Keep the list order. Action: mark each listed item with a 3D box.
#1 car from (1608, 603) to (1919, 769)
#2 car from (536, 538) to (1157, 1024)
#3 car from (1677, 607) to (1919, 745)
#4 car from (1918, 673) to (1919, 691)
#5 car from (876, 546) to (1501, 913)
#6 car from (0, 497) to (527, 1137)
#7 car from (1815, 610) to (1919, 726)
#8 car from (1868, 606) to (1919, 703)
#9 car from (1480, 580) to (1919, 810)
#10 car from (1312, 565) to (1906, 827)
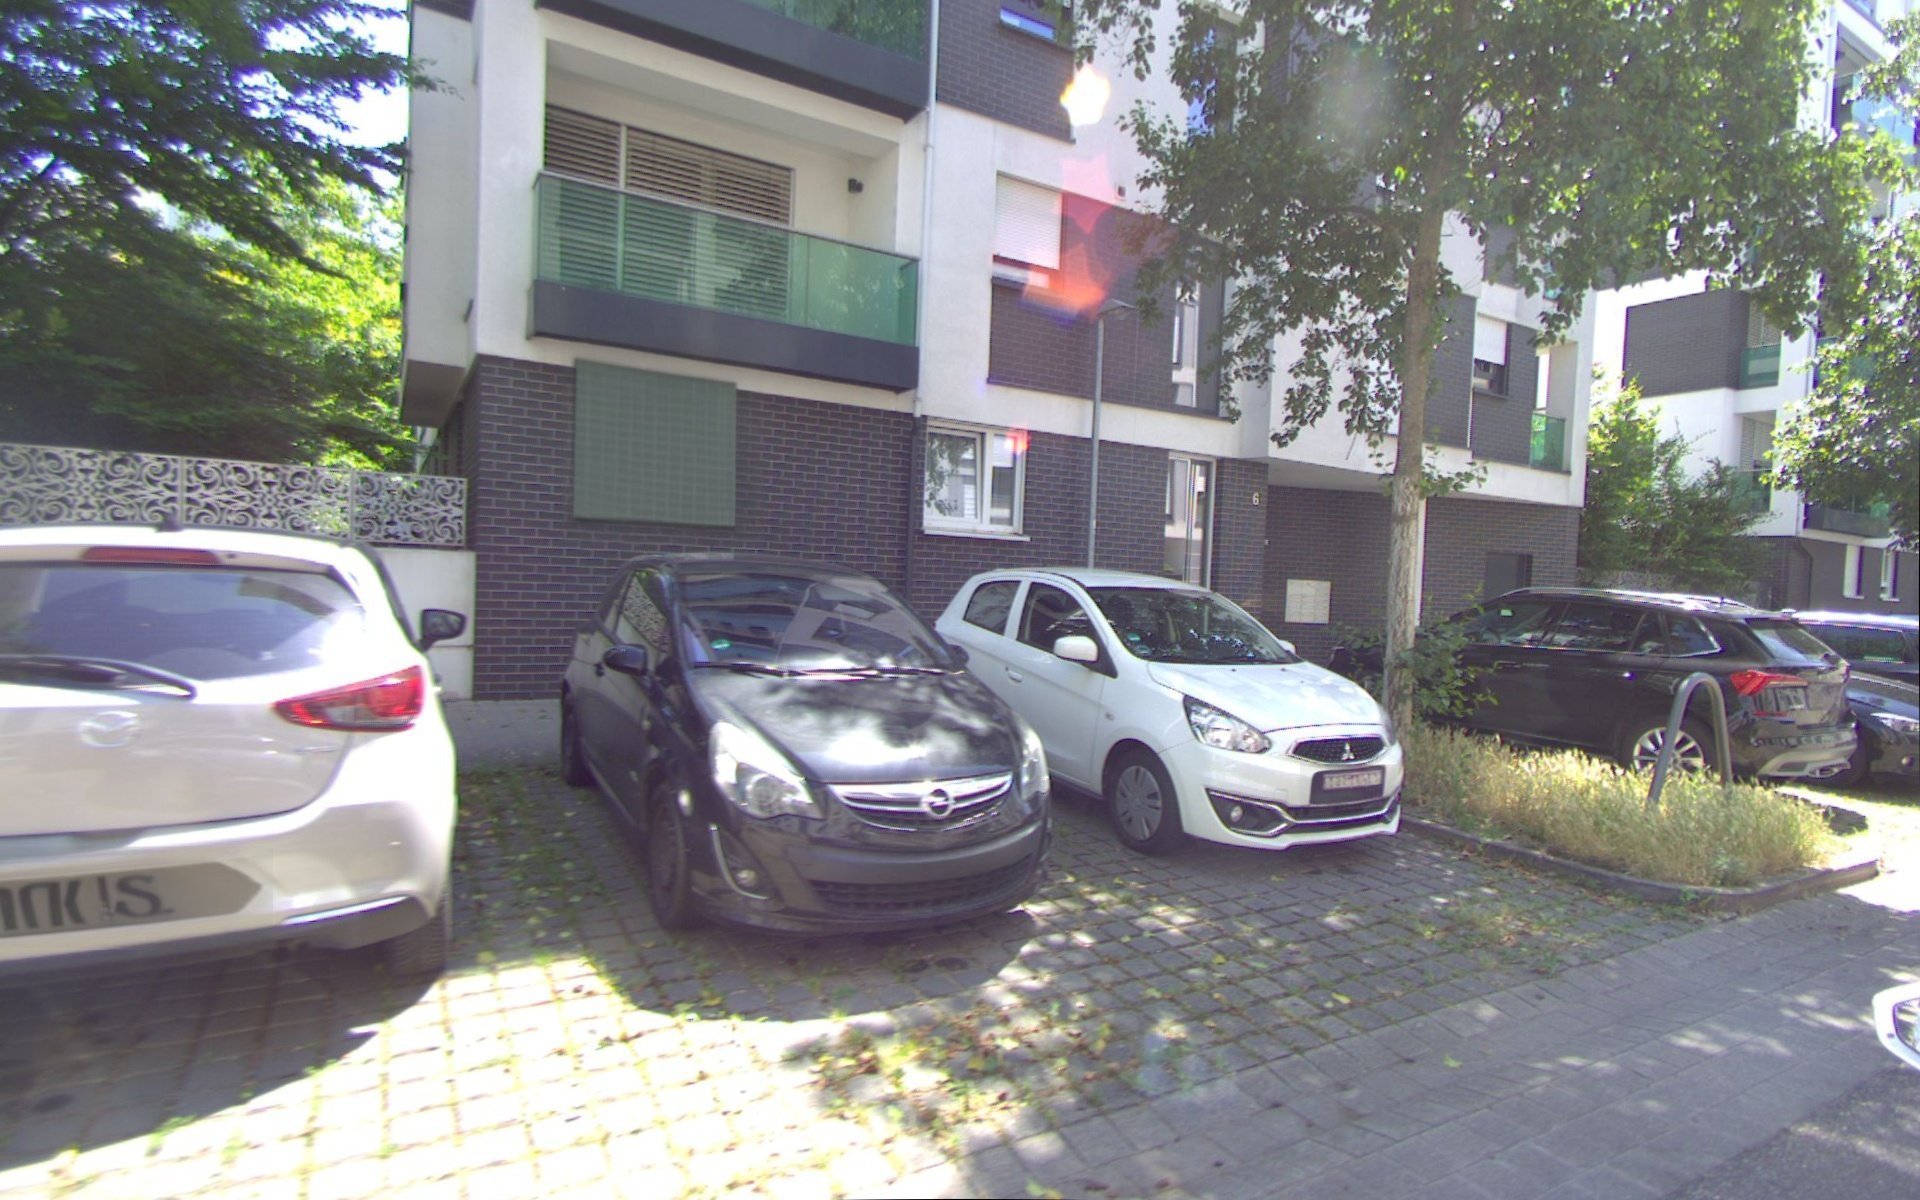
[{"bbox_3d":[9.860,0.919,11.241,1.757,1.465,3.949,2,3,-34],"label":"car"},{"bbox_3d":[-1.064,0.488,5.488,1.772,1.496,4.295,2,3,-30],"label":"car"},{"bbox_3d":[11.920,0.980,12.864,1.874,1.441,3.968,2,3,-29],"label":"car"},{"bbox_3d":[20.012,1.135,18.538,1.828,1.520,2.916,2,4,-31],"label":"car"},{"bbox_3d":[1.131,0.521,6.746,1.861,1.613,3.968,2,3,-29],"label":"car"},{"bbox_3d":[-3.195,0.391,4.348,1.902,1.538,4.230,2,4,-30],"label":"car"},{"bbox_3d":[15.867,1.075,14.992,1.978,1.733,4.336,2,0,-32],"label":"car"},{"bbox_3d":[17.717,1.057,16.569,1.803,1.607,3.683,2,3,-35],"label":"car"},{"bbox_3d":[7.690,0.761,10.069,1.894,1.673,3.969,2,3,-28],"label":"car"},{"bbox_3d":[5.434,0.617,8.993,1.910,1.651,3.967,2,3,-30],"label":"car"}]
